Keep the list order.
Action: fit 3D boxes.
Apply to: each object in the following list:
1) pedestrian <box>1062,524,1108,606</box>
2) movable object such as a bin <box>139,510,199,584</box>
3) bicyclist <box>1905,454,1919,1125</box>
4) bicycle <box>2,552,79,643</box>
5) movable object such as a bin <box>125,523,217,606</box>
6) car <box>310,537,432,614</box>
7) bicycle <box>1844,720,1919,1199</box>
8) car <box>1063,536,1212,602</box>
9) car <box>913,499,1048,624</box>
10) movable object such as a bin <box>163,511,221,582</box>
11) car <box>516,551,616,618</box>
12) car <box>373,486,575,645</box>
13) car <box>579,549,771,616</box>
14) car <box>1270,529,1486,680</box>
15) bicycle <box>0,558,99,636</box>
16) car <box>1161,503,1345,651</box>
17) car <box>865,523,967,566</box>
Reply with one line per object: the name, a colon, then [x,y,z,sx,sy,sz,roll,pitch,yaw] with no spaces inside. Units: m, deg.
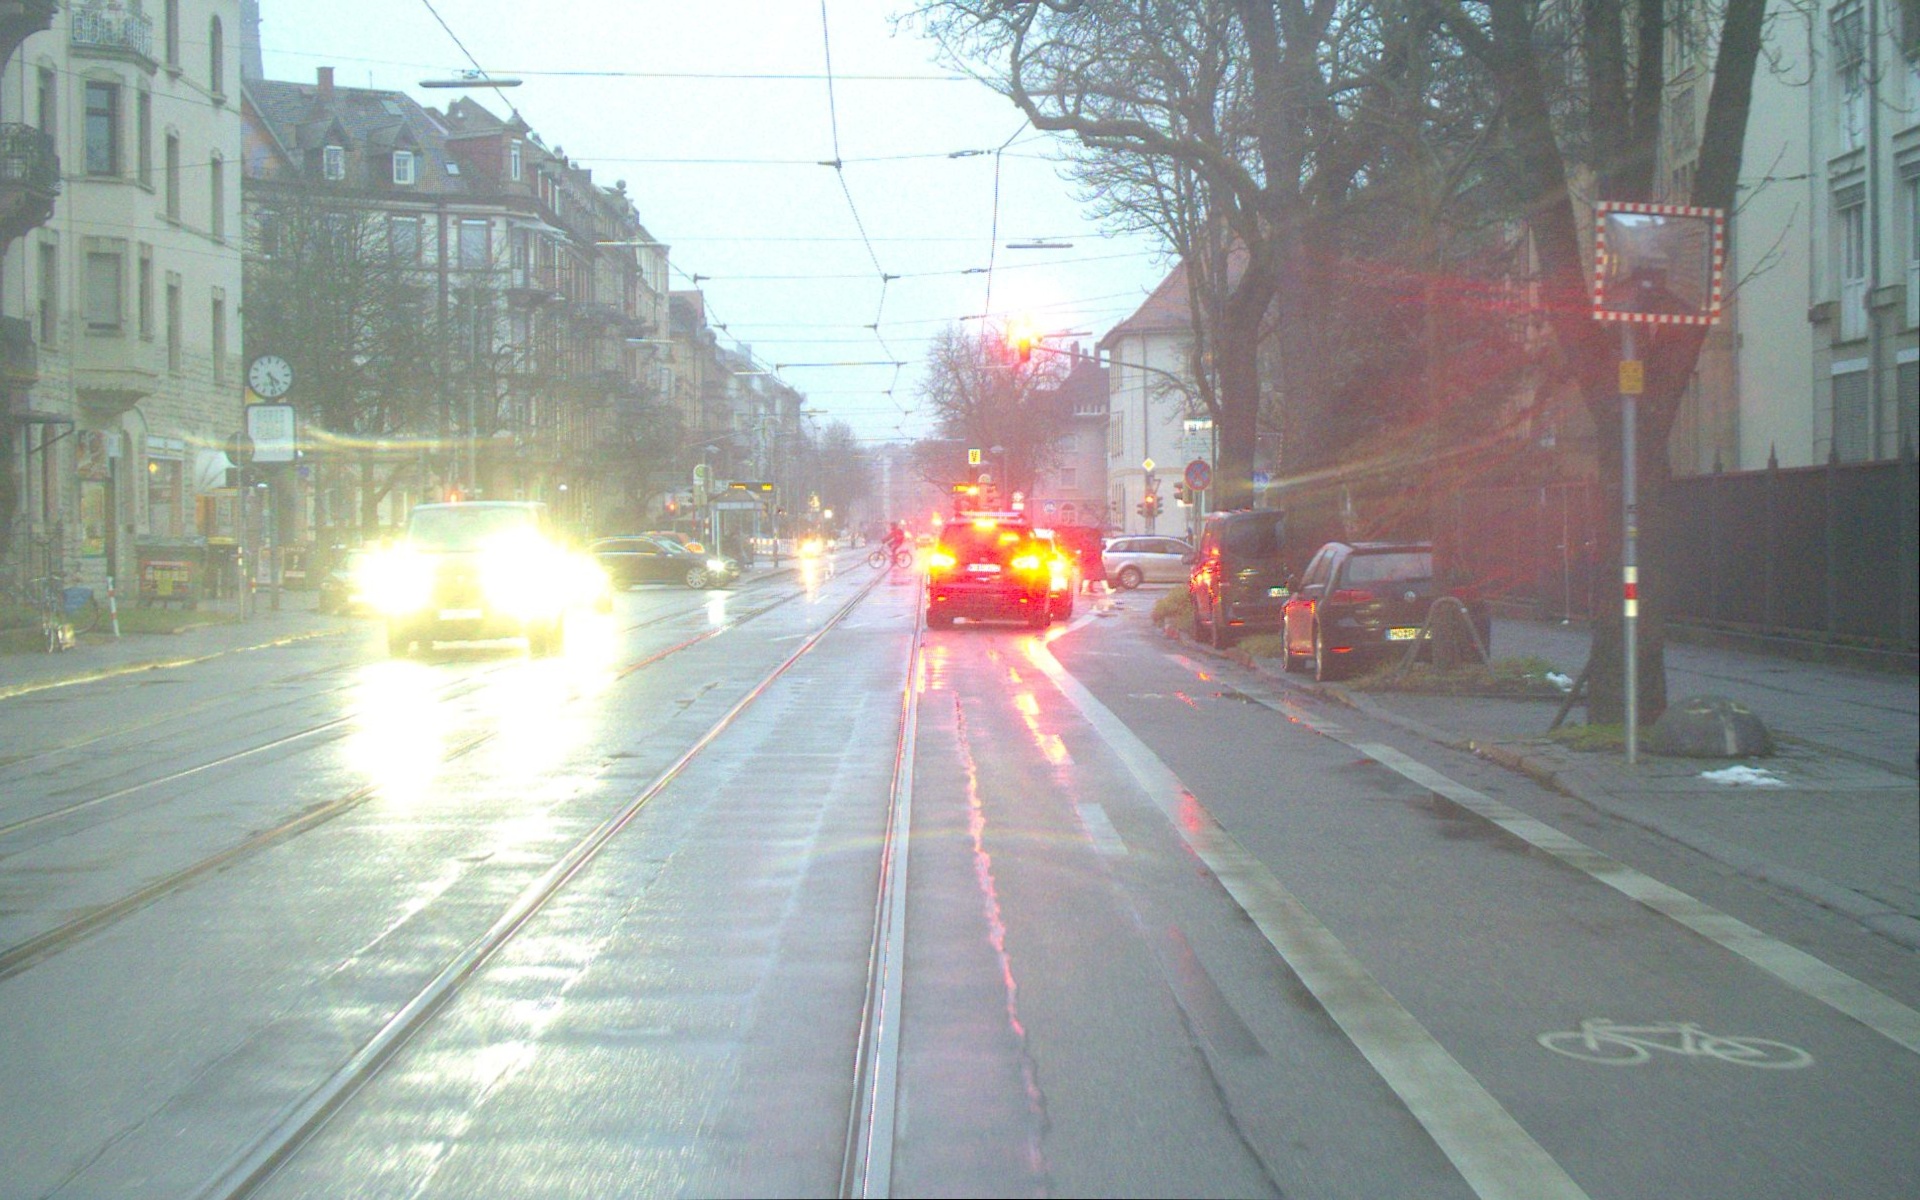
pedestrian: [3.077,-0.866,84.732,1.022,2.006,0.919,-1,2,-3]
movable object such as a bin: [-17.453,-1.177,75.898,1.014,1.595,1.081,-1,2,2]
bicyclist: [2.369,0.416,7.046,0.656,1.441,0.849,-1,2,3]
bicycle: [-11.553,-0.040,43.254,0.614,1.077,1.811,-1,2,-5]
movable object such as a bin: [-14.881,-0.676,64.915,1.409,1.525,1.365,-1,2,0]
car: [-12.062,-0.528,70.637,1.833,1.442,4.001,-1,2,0]
bicycle: [2.407,0.862,7.108,0.707,1.093,2.029,-1,2,2]
car: [4.814,-0.854,93.592,3.987,1.722,1.740,-1,2,1]
car: [0.285,-0.599,55.201,1.993,1.890,4.759,1,0,-1]
movable object such as a bin: [-17.494,-1.227,78.337,1.014,1.595,1.081,-1,2,2]
car: [-7.815,-0.322,68.480,1.660,1.194,3.875,-1,2,-2]
car: [-6.228,-0.503,44.564,2.046,1.915,5.101,-1,2,-2]
car: [-7.671,-0.484,92.732,4.946,1.711,1.697,-1,2,4]
car: [4.322,0.003,36.070,1.677,1.455,4.043,-1,1,-1]
bicycle: [-13.365,-0.044,49.489,1.804,1.077,0.616,-1,2,-7]
car: [3.999,-0.371,47.675,1.993,1.894,5.028,-1,2,-1]
car: [-1.828,-2.312,142.258,3.986,1.711,1.904,-1,2,-8]
